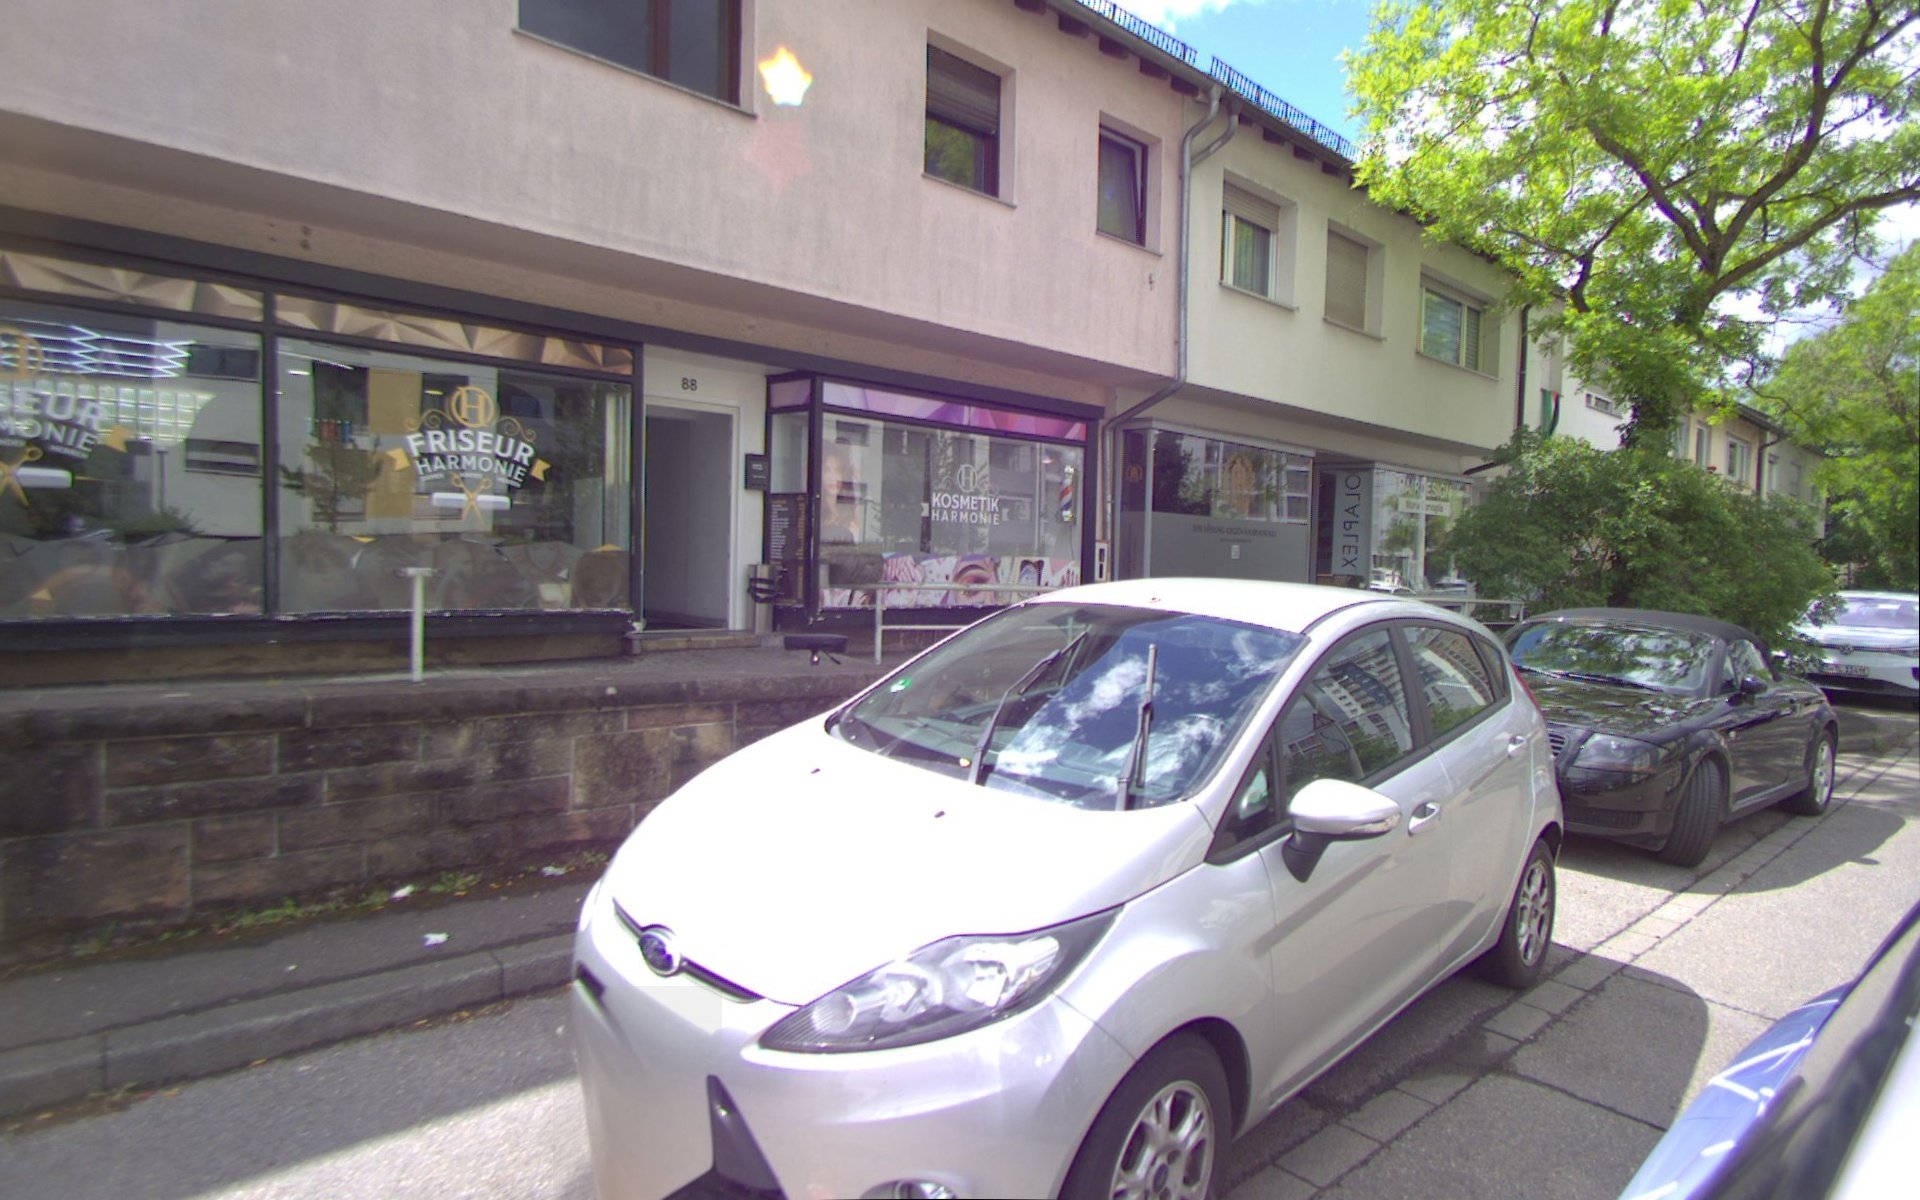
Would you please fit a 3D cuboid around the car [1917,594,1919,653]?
[{"bbox_3d":[26.218,0.618,26.008,3.968,1.481,1.818,0,2,-39],"label":"car"}]

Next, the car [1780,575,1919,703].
[{"bbox_3d":[13.862,0.495,15.101,4.353,1.664,1.841,0,2,-42],"label":"car"}]

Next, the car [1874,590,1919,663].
[{"bbox_3d":[22.156,0.564,22.628,4.822,1.517,1.818,0,2,-39],"label":"car"}]

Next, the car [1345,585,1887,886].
[{"bbox_3d":[4.556,0.652,6.844,3.926,1.365,1.777,0,4,-37],"label":"car"}]

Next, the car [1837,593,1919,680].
[{"bbox_3d":[17.798,0.624,18.735,4.368,1.444,1.728,0,2,-41],"label":"car"}]

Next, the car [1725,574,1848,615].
[{"bbox_3d":[36.138,-0.278,44.393,3.911,1.537,1.781,5,3,33],"label":"car"}]

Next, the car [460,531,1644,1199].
[{"bbox_3d":[0.663,0.595,3.366,3.834,1.459,1.774,-1,5,-43],"label":"car"}]
